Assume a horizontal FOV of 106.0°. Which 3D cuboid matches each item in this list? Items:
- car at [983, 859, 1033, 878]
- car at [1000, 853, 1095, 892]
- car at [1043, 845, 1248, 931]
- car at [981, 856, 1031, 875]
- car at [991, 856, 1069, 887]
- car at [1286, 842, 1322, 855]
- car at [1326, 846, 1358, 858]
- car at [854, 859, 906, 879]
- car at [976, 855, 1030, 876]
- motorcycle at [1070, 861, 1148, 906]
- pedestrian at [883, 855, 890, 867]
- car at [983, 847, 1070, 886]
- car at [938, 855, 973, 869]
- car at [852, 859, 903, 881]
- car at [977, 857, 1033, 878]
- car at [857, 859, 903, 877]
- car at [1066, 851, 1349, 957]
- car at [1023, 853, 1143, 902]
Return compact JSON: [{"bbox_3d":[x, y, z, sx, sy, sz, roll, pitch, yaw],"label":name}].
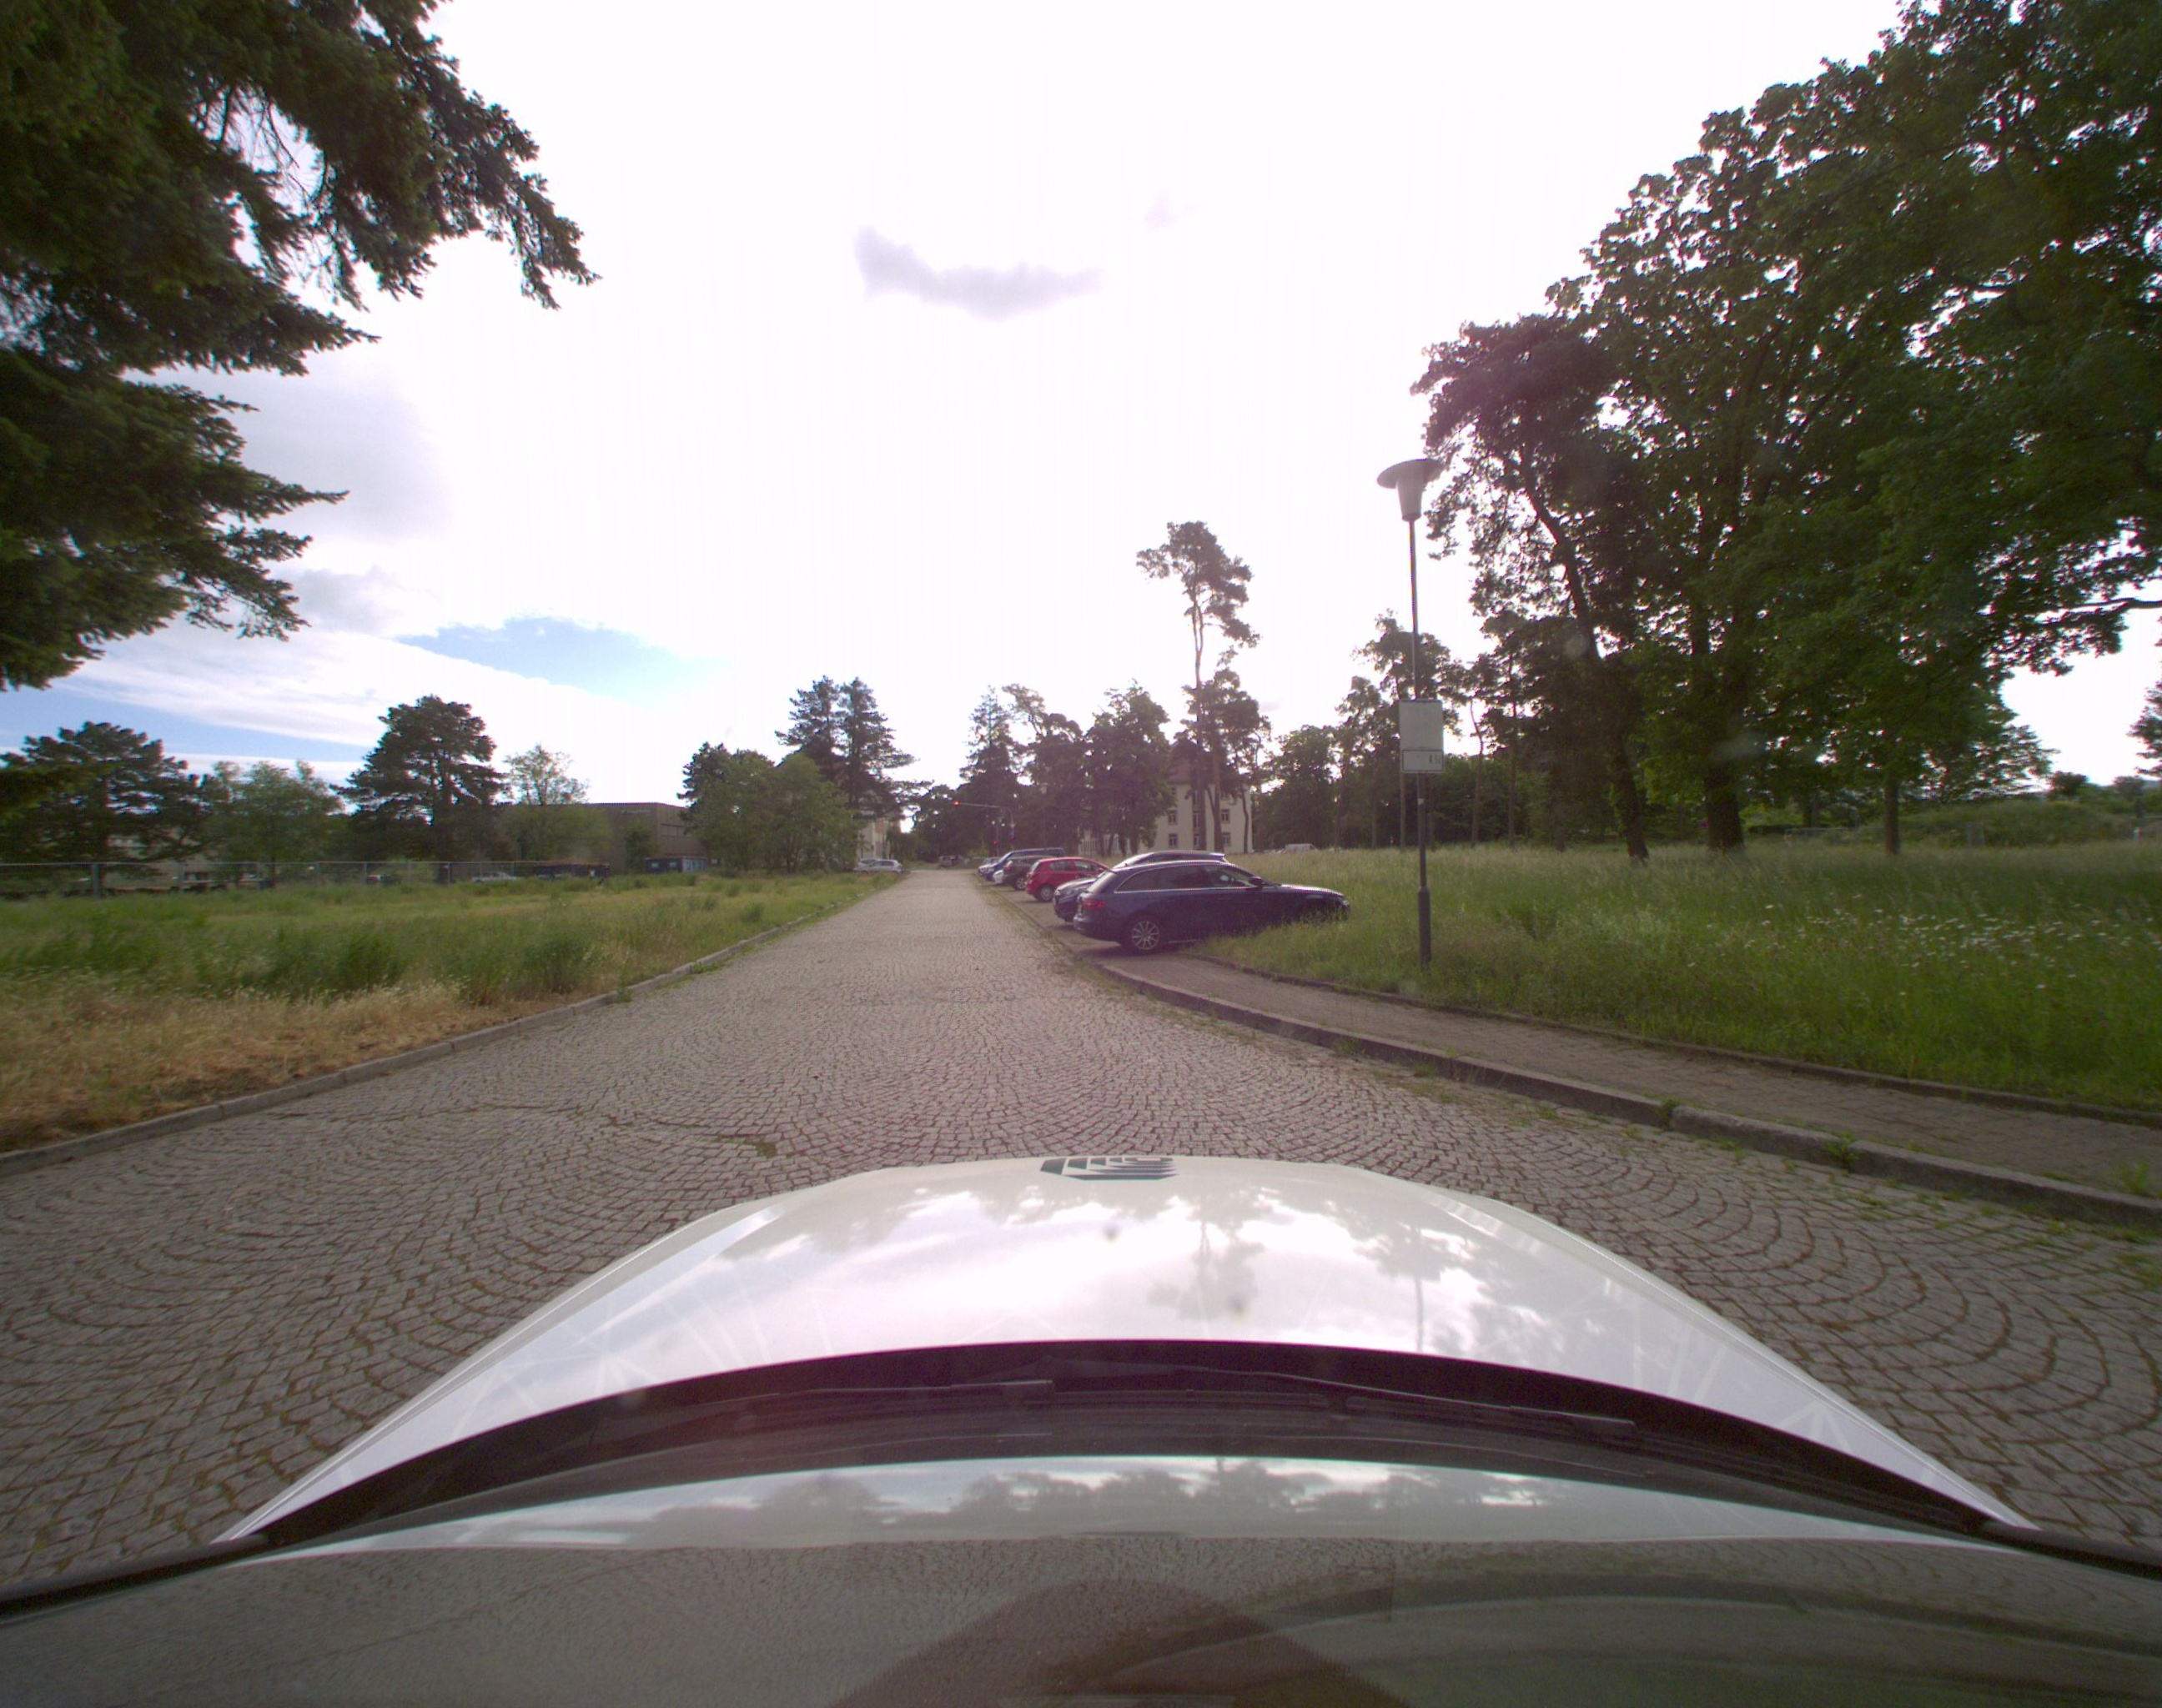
[{"bbox_3d":[-5.491,1.067,61.025,3.585,1.223,1.624,-3,0,-9],"label":"car"},{"bbox_3d":[-1.637,0.841,38.825,4.206,1.595,1.945,-3,0,-12],"label":"car"},{"bbox_3d":[1.403,0.715,18.504,4.247,1.622,1.879,-3,0,-11],"label":"car"},{"bbox_3d":[-6.562,0.983,70.982,4.142,1.463,1.625,-3,0,-15],"label":"car"},{"bbox_3d":[-2.836,0.934,45.047,4.101,1.478,1.714,-3,0,-13],"label":"car"},{"bbox_3d":[36.126,-0.881,132.111,5.298,2.019,2.099,0,-1,-9],"label":"car"},{"bbox_3d":[38.975,-0.290,121.742,4.130,1.804,1.895,0,-1,-8],"label":"car"},{"bbox_3d":[-17.455,1.296,70.771,4.306,1.554,1.802,-3,0,-16],"label":"car"},{"bbox_3d":[-6.562,0.962,68.399,4.243,1.479,1.698,-3,0,-20],"label":"car"},{"bbox_3d":[0.828,0.868,24.275,2.231,1.202,0.566,-3,0,-12],"label":"motorcycle"},{"bbox_3d":[-31.519,1.092,132.023,1.074,1.959,1.118,0,-1,-9],"label":"pedestrian"},{"bbox_3d":[-3.221,0.700,47.556,4.798,2.004,1.958,-3,0,-12],"label":"car"},{"bbox_3d":[-21.045,1.330,136.165,5.397,2.101,2.163,-2,0,-22],"label":"car"},{"bbox_3d":[-18.318,1.392,73.458,4.305,1.732,1.644,-3,0,-15],"label":"car"},{"bbox_3d":[-6.141,1.070,65.672,4.195,1.437,1.745,-3,0,-17],"label":"car"},{"bbox_3d":[-16.820,1.208,68.256,3.723,1.481,1.666,0,0,-12],"label":"car"},{"bbox_3d":[2.039,0.773,13.817,4.354,1.439,1.922,-3,0,-8],"label":"car"},{"bbox_3d":[0.037,0.791,28.691,3.925,1.496,1.778,-3,0,-11],"label":"car"}]
